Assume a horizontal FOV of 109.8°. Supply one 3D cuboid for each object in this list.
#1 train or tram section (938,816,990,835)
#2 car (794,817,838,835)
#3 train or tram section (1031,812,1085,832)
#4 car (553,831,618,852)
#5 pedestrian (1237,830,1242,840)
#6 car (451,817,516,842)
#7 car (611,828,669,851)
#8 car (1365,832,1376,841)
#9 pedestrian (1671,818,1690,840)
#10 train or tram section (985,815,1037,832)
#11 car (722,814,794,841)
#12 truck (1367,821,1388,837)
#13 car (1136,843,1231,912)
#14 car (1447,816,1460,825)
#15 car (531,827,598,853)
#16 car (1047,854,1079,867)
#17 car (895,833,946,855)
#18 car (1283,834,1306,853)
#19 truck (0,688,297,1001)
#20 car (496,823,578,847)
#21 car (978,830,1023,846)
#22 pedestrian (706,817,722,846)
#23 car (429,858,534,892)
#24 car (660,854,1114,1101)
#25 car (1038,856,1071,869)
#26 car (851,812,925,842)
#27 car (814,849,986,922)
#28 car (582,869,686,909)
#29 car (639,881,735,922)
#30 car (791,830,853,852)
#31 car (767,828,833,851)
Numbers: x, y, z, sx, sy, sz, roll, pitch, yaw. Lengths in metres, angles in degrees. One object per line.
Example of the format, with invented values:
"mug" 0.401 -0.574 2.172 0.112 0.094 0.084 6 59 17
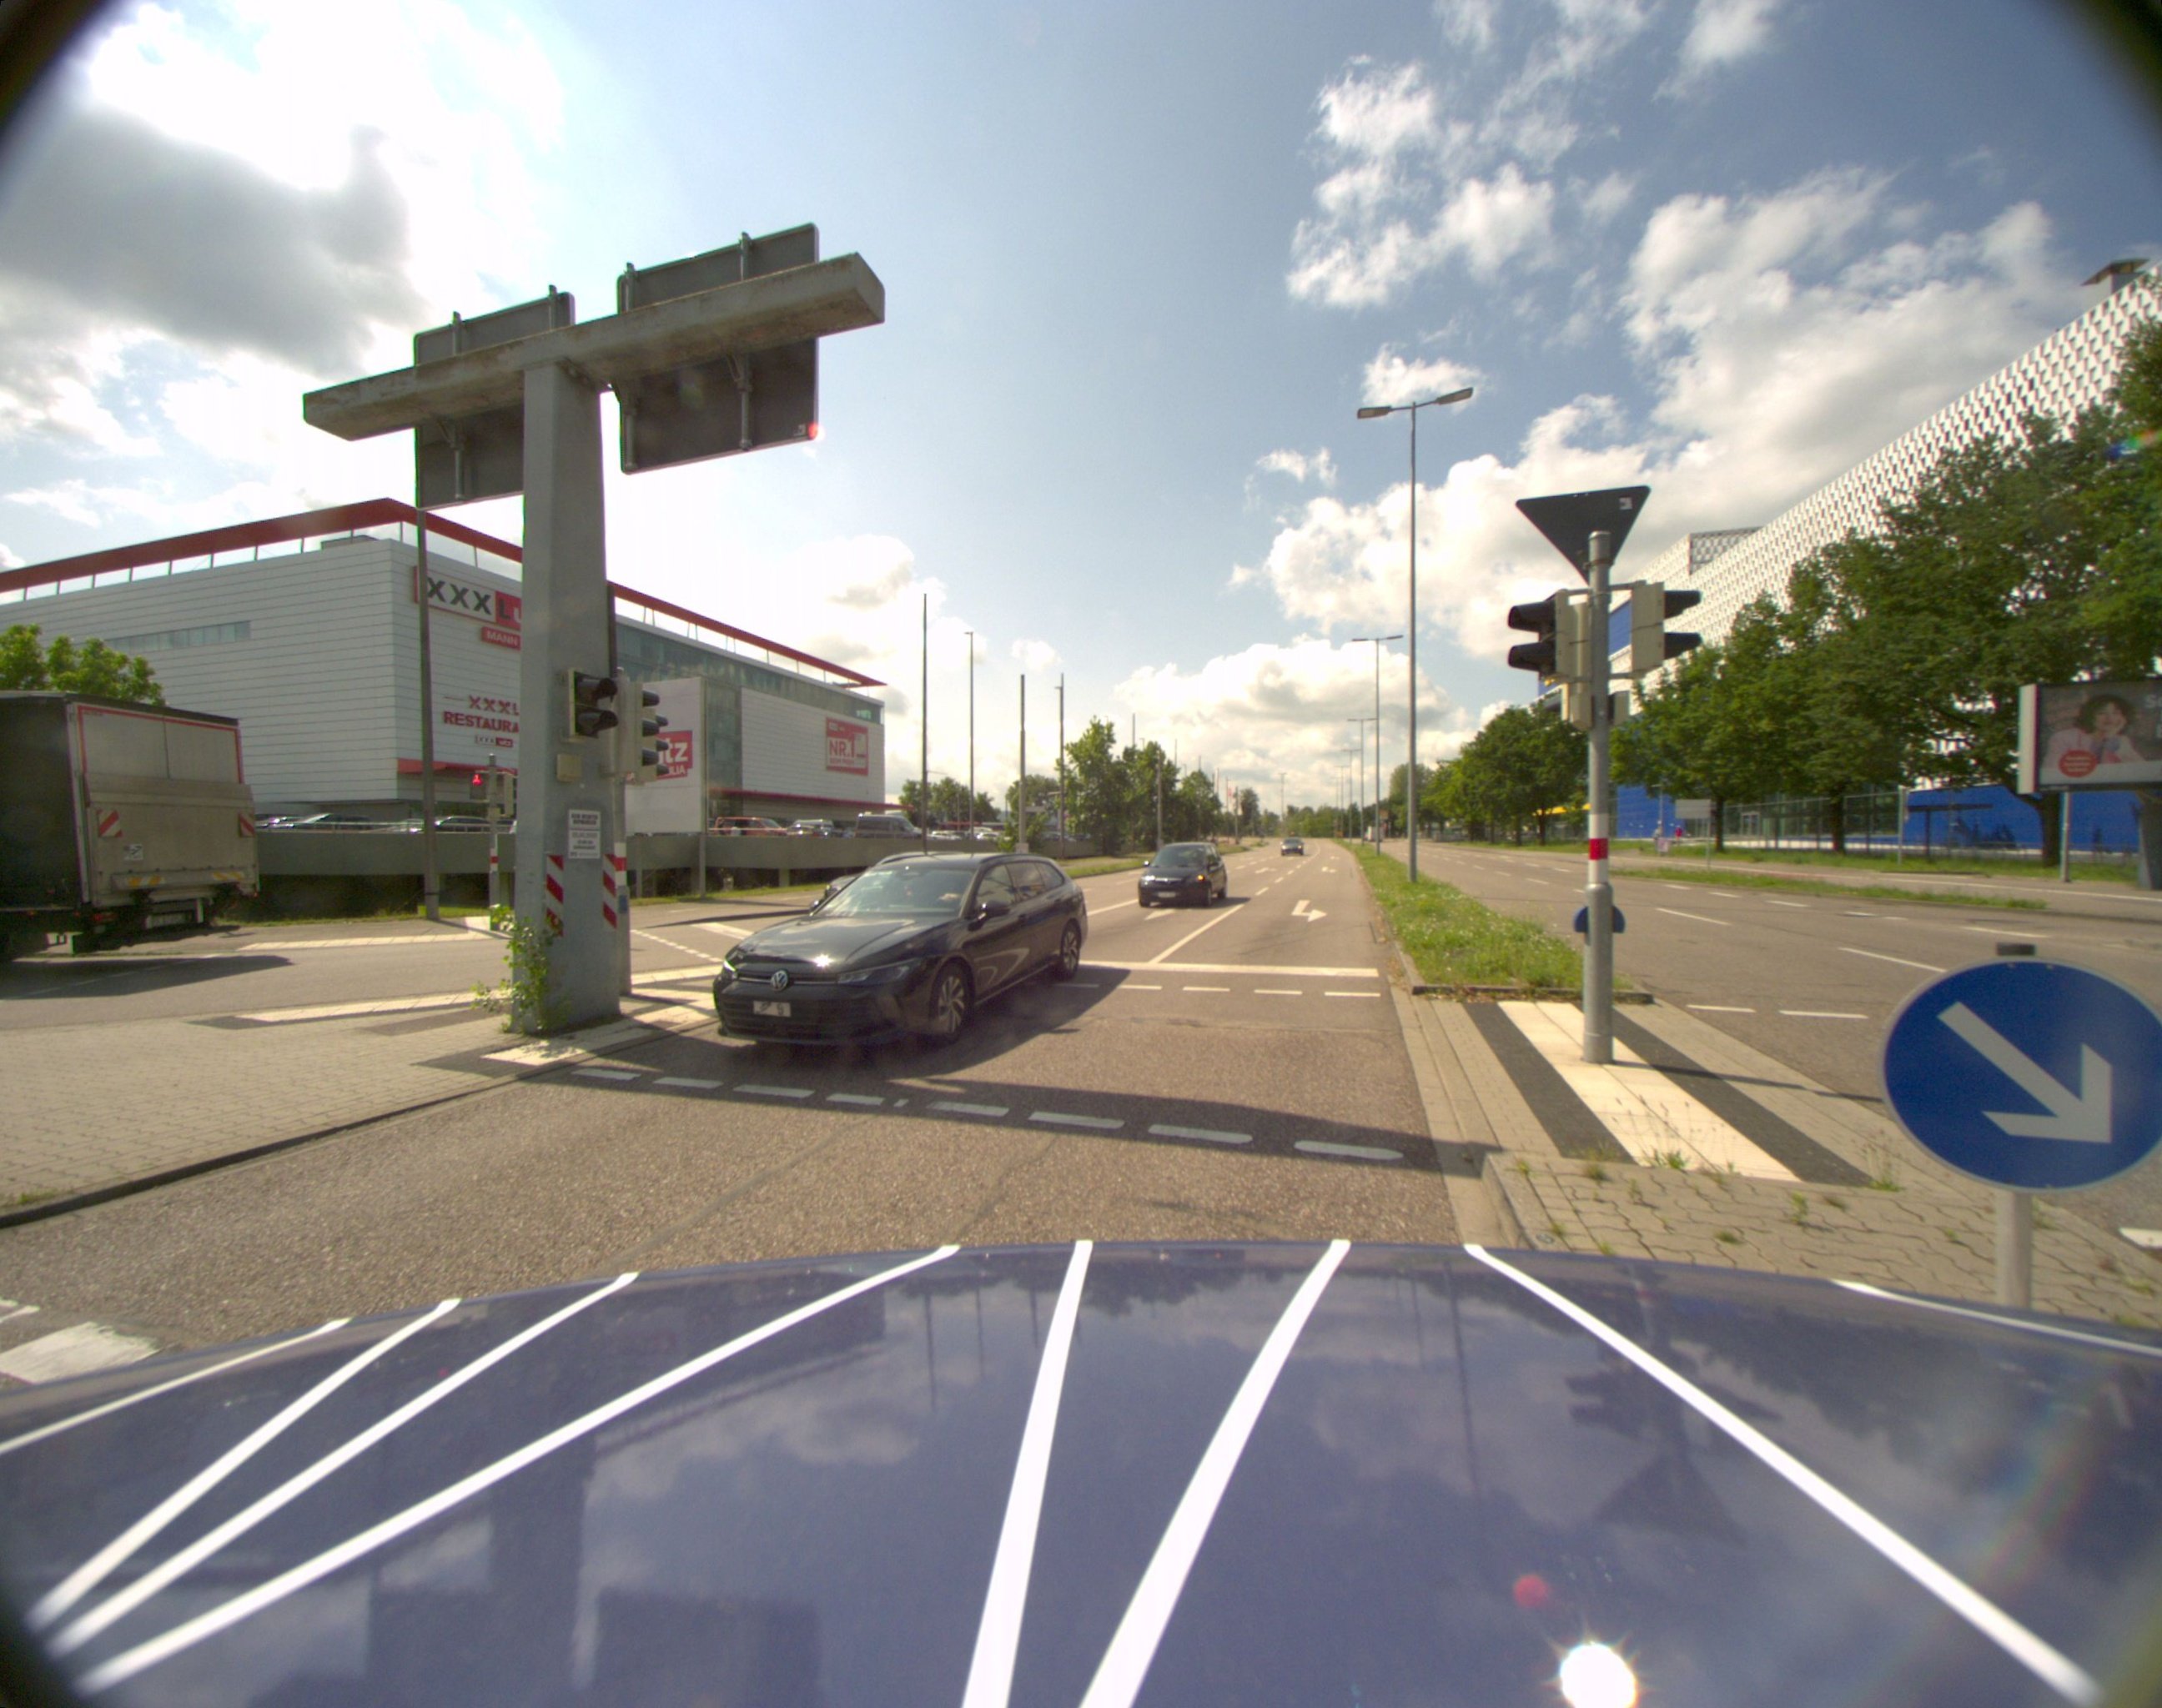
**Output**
"train or tram section" -31.269 -7.724 203.389 13.080 4.535 3.736 -2 2 17
"car" -28.717 -3.027 82.372 3.992 1.740 1.918 -2 2 18
"train or tram section" -5.910 -8.143 195.803 13.080 4.646 3.736 -2 2 17
"car" -37.730 -0.936 57.860 4.414 1.462 1.561 -1 1 16
"pedestrian" 31.100 -3.711 149.439 0.705 1.803 0.544 -3 2 -21
"car" -45.387 -1.845 57.732 4.414 1.813 1.561 -1 1 16
"car" -36.587 -1.241 63.034 3.992 1.740 1.918 -2 2 18
"car" 55.260 -3.306 145.028 1.938 1.674 4.004 -2 1 19
"pedestrian" 47.787 -1.966 60.575 0.852 1.718 1.166 -1 2 22
"train or tram section" -18.475 -7.899 199.501 13.078 4.347 3.736 1 2 17
"car" -22.548 -1.847 53.133 4.184 1.740 1.917 -2 2 5
"truck" 53.208 -4.470 136.476 2.968 2.736 5.790 -2 1 17
"car" 2.726 0.504 19.293 1.604 1.521 4.274 0 1 19
"car" 72.401 -6.429 147.694 1.938 1.674 4.004 -2 1 19
"car" -38.009 -1.053 55.931 3.992 1.740 1.918 -2 2 18
"car" -2.649 0.963 112.896 4.415 1.754 1.561 -2 2 16
"car" -14.140 -0.893 67.055 3.991 1.784 1.751 -2 2 20
"car" 17.584 -0.873 62.610 1.604 1.521 4.275 0 1 19
"truck" -17.759 0.011 10.609 9.071 4.004 3.219 -2 2 -11
"car" -35.634 -1.218 49.781 4.414 1.462 1.957 -1 1 16
"car" -8.708 -1.757 82.552 4.414 1.596 1.957 -1 1 18
"pedestrian" -25.192 -1.550 52.188 0.912 2.002 0.705 -3 2 -26
"car" -34.605 1.150 44.012 1.996 1.740 4.368 -1 1 16
"car" -1.290 0.806 7.616 1.810 1.469 5.210 -1 1 19
"car" -3.741 1.221 109.143 4.415 1.754 1.561 -2 2 16
"car" -16.090 -2.220 63.378 5.787 2.270 1.751 -2 2 16
"car" -4.223 0.664 18.640 1.776 1.469 4.685 -1 1 20
"car" -22.775 1.754 38.922 1.996 1.740 4.368 -1 1 16
"car" -19.570 2.311 37.919 1.996 1.740 4.004 -1 1 16
"car" -20.816 -1.038 61.084 4.413 1.596 1.957 -1 1 20
"car" -21.602 -1.121 58.487 4.414 1.596 1.957 -1 1 18
